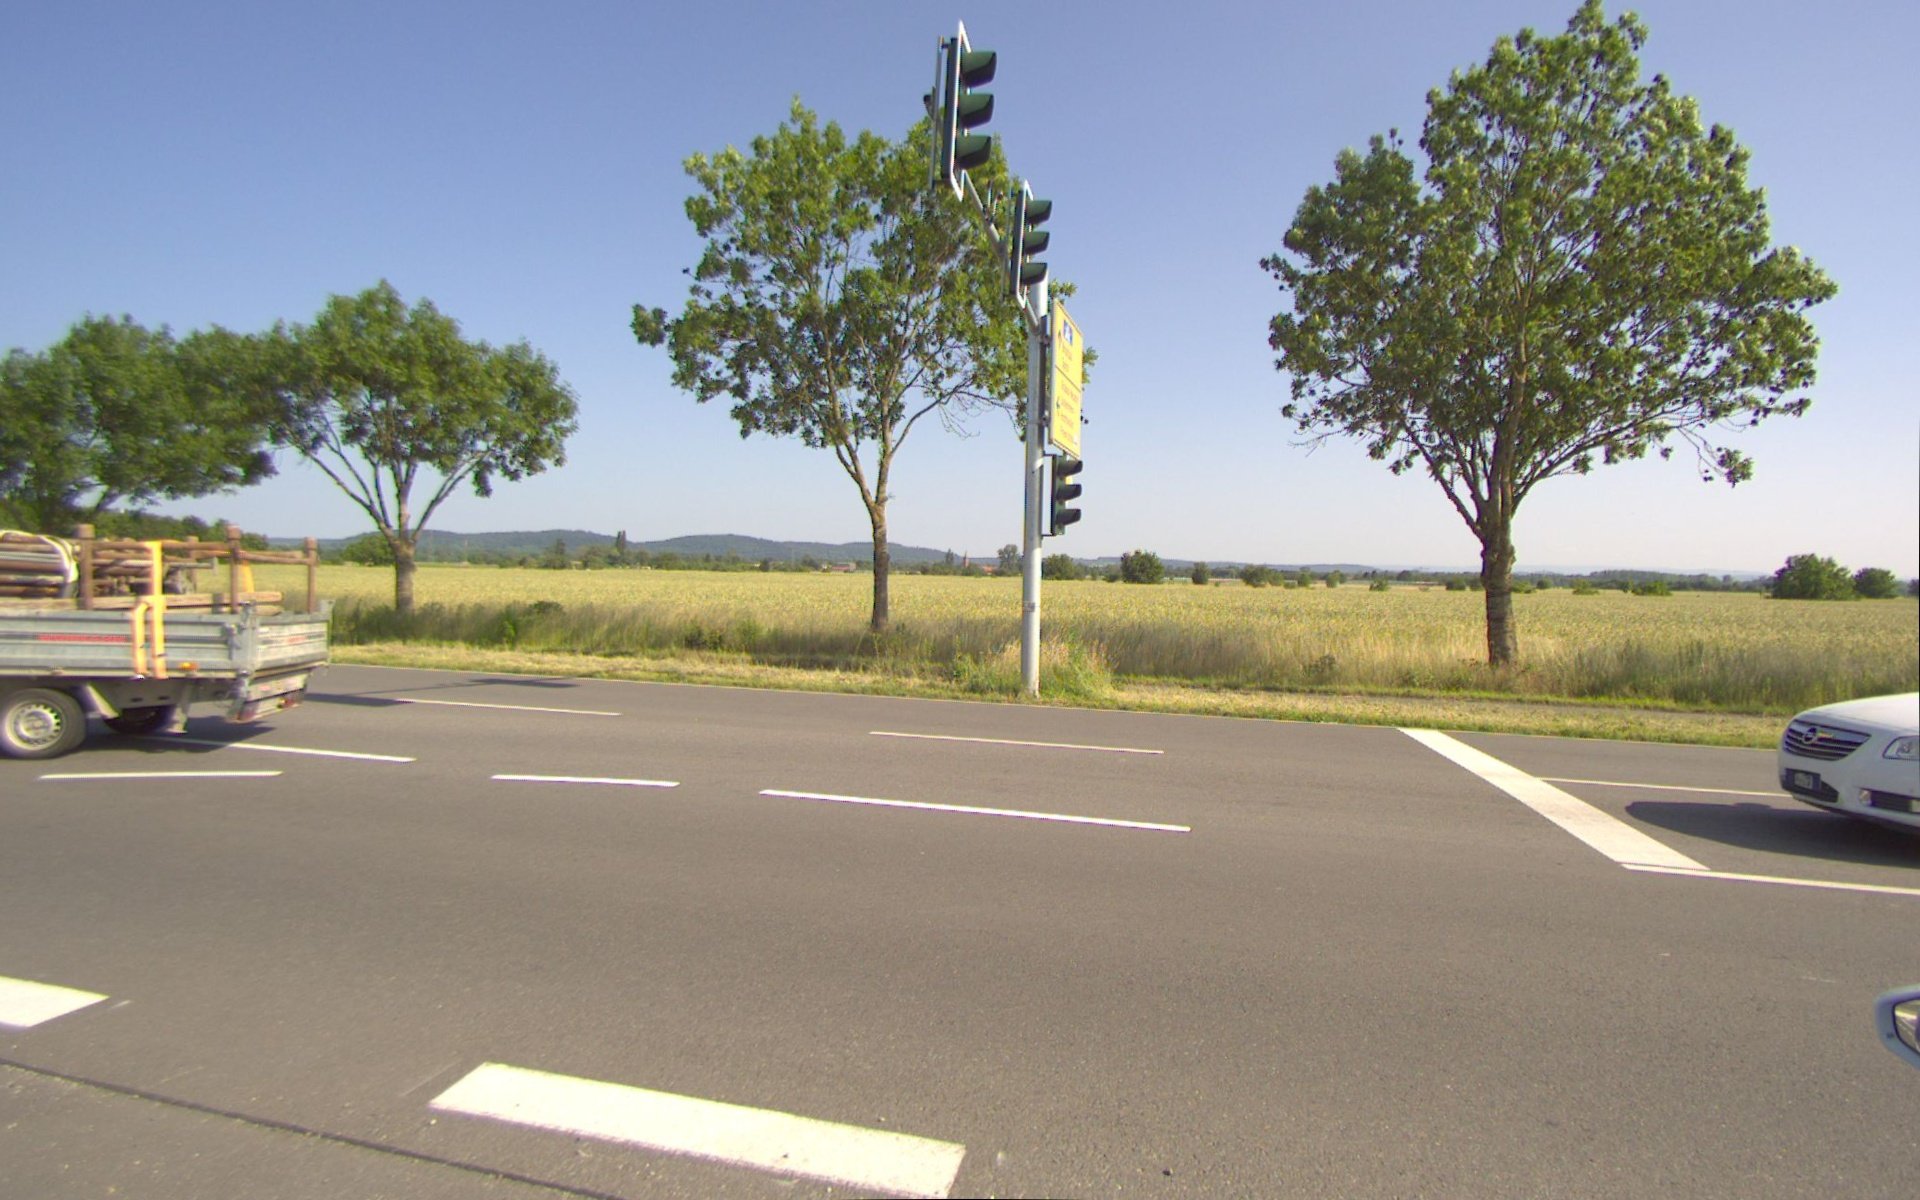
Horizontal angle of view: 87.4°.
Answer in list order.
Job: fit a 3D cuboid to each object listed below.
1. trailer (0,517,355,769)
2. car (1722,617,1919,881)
[{"bbox_3d":[-7.773,0.263,7.729,4.930,1.761,1.974,2,0,-16],"label":"trailer"},{"bbox_3d":[7.901,0.948,6.316,4.612,1.512,1.766,2,0,11],"label":"car"}]
